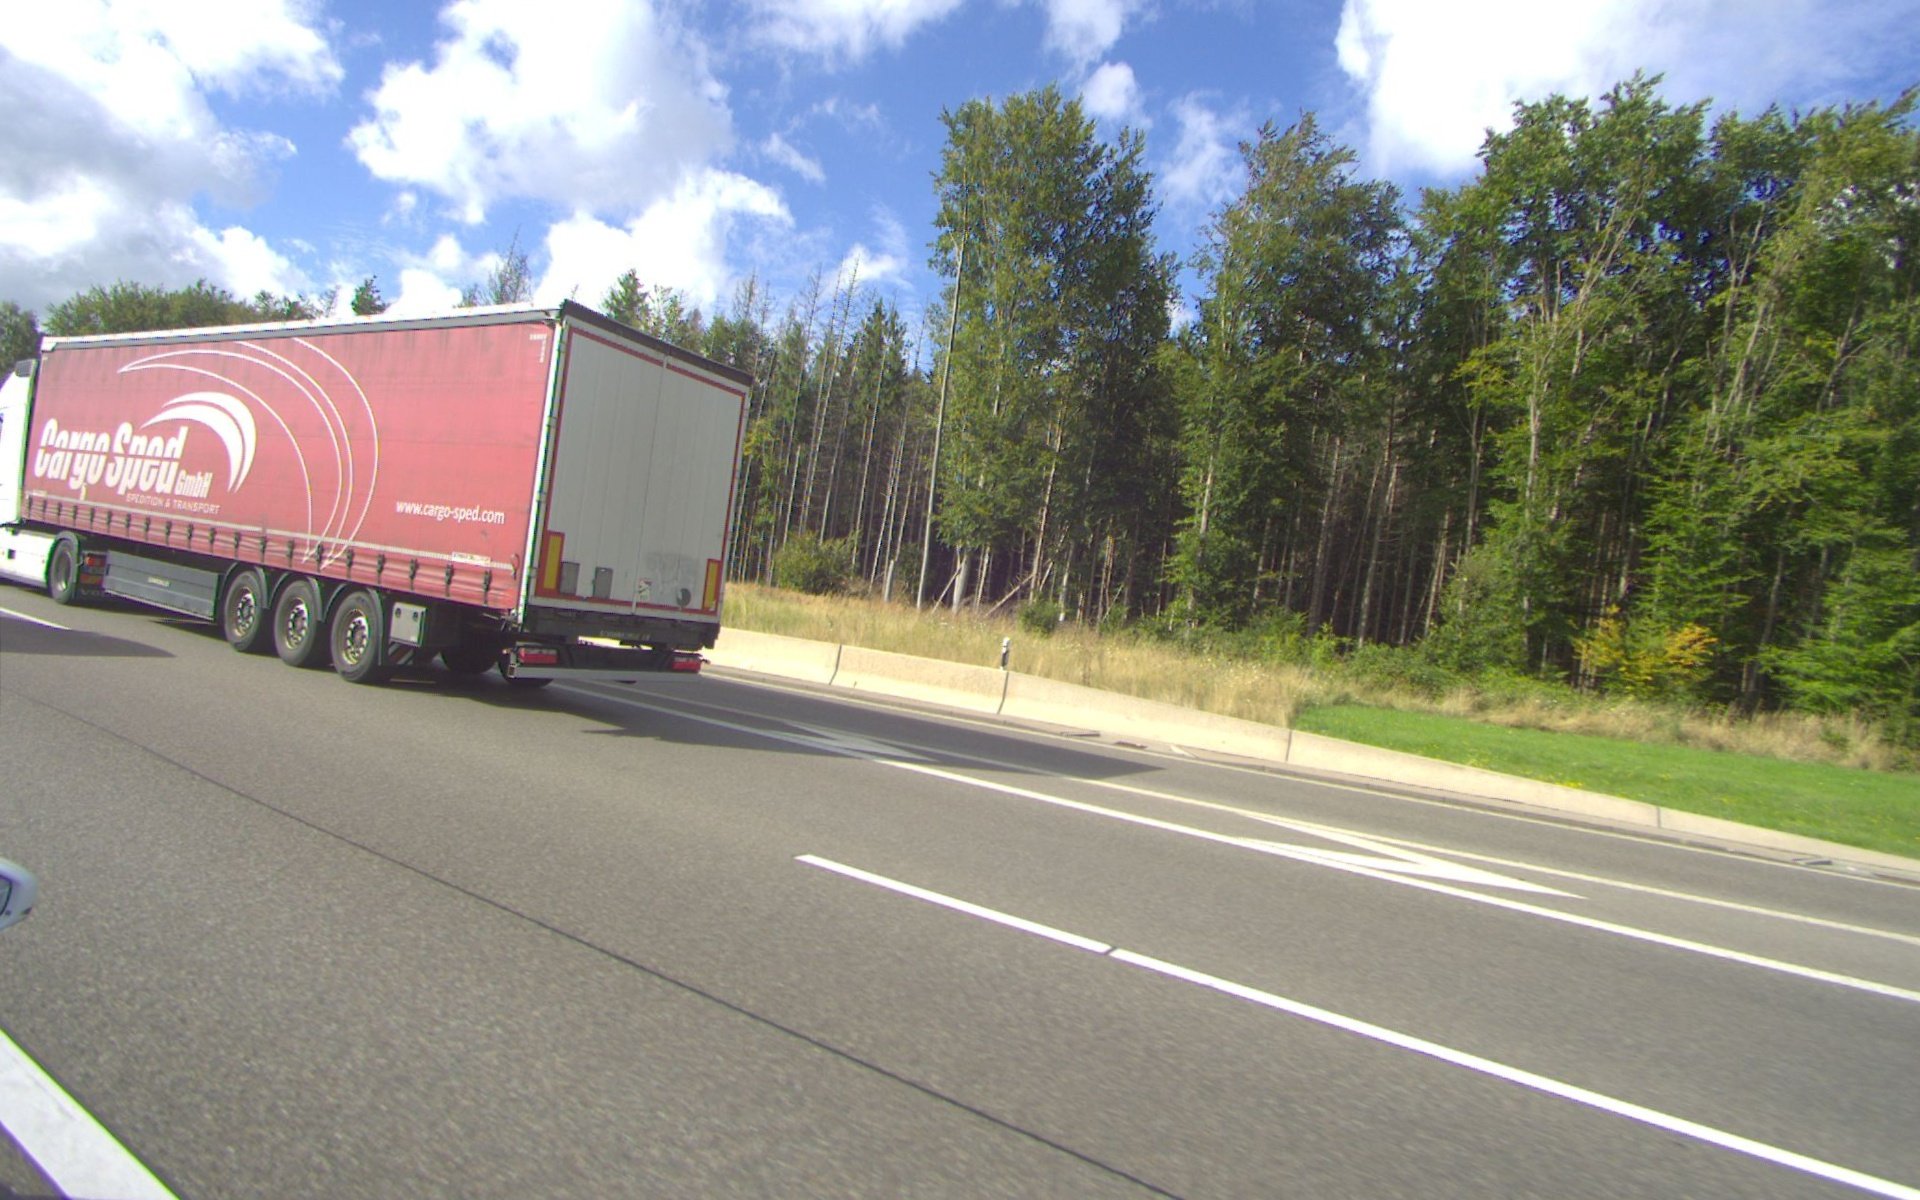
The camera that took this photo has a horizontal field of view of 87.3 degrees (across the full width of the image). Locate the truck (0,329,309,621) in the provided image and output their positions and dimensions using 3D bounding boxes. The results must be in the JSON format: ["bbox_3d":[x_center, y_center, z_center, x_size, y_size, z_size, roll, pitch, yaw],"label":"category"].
[{"bbox_3d":[-14.400,-2.087,17.380,5.677,4.093,2.778,7,-1,32],"label":"truck"}]

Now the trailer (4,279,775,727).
[{"bbox_3d":[-8.767,-1.430,13.866,13.486,4.093,2.778,7,-1,32],"label":"trailer"}]

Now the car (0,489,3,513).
[{"bbox_3d":[-12.057,-0.651,10.573,4.384,1.548,1.776,7,-1,32],"label":"car"}]
